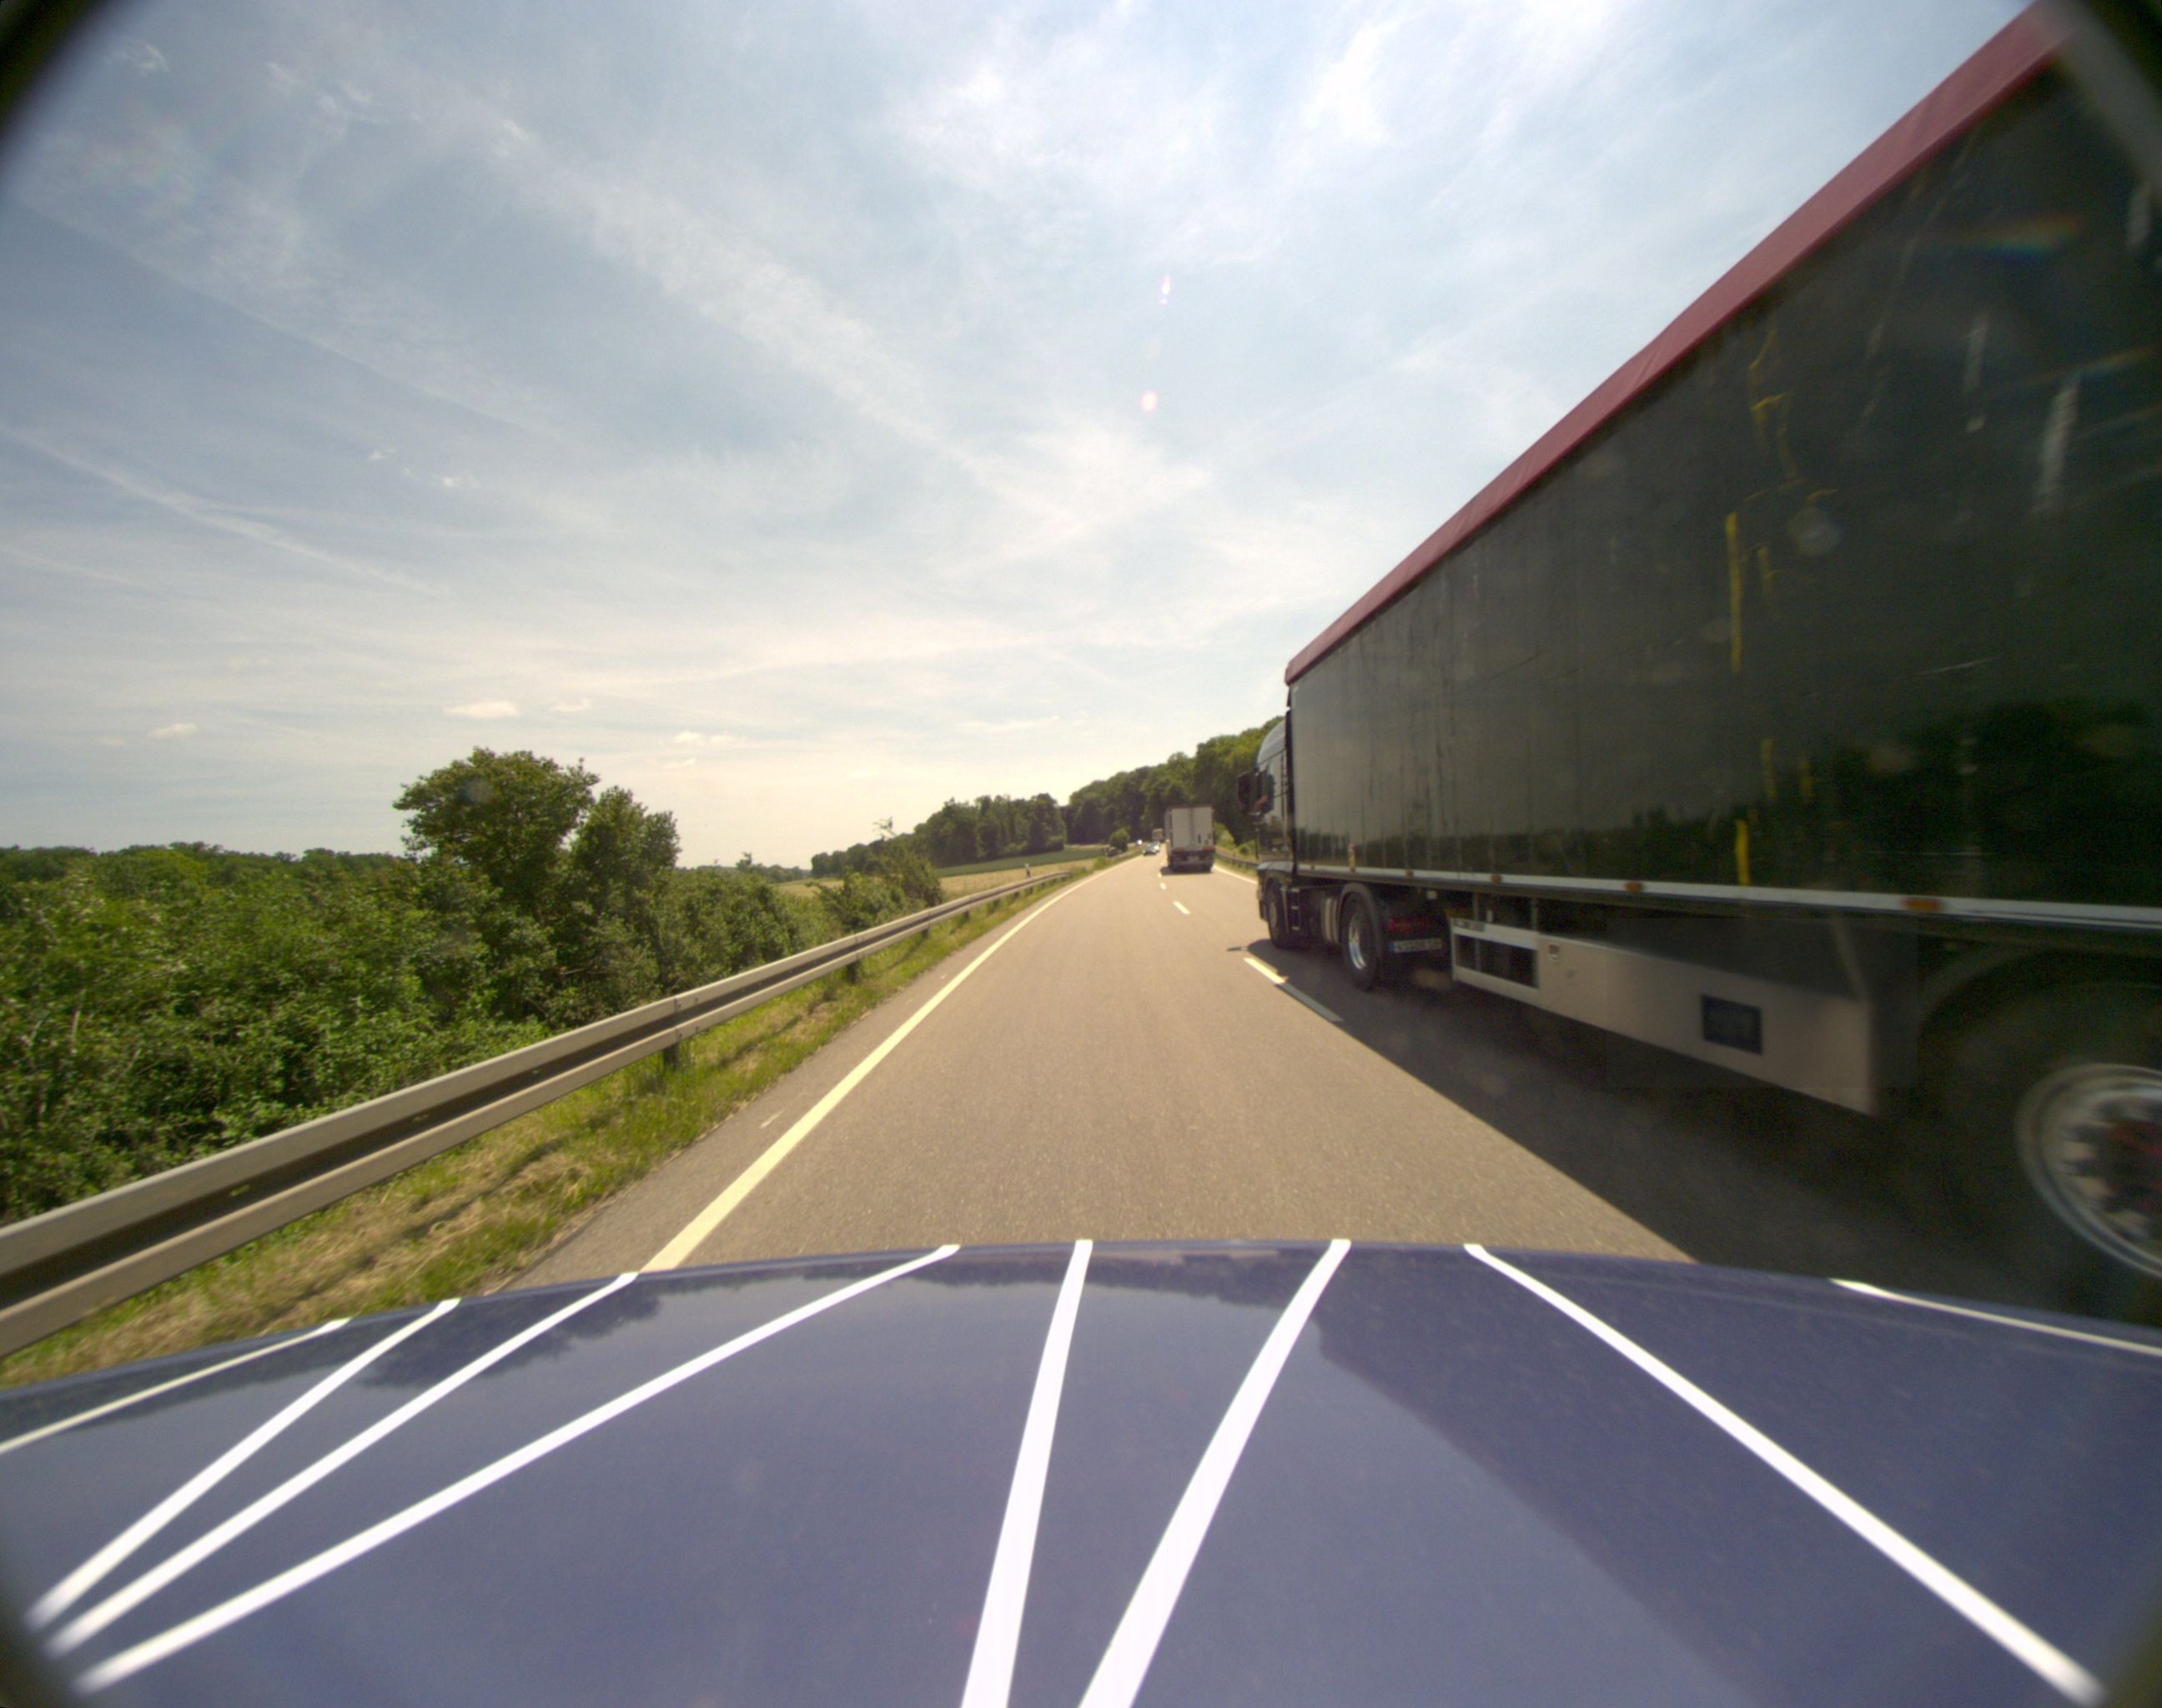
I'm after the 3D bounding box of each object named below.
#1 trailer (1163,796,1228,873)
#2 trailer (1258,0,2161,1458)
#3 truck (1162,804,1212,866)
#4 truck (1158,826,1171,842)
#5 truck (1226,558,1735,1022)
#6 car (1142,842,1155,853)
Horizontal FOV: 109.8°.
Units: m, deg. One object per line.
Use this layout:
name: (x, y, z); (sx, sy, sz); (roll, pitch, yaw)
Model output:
trailer: (7.455, -1.266, 51.380); (3.381, 4.375, 13.748); (-2, 1, 5)
trailer: (4.313, -0.575, 3.927); (3.249, 4.126, 14.441); (-2, 0, 0)
truck: (8.068, -1.437, 58.534); (3.381, 4.376, 5.446); (-3, 1, 5)
truck: (24.318, -5.842, 221.183); (3.181, 4.493, 13.323); (-3, 1, 5)
truck: (4.289, -0.596, 10.248); (3.249, 4.126, 6.651); (-2, 0, 0)
car: (9.523, -0.914, 107.027); (1.621, 1.428, 3.444); (-4, 1, 7)
